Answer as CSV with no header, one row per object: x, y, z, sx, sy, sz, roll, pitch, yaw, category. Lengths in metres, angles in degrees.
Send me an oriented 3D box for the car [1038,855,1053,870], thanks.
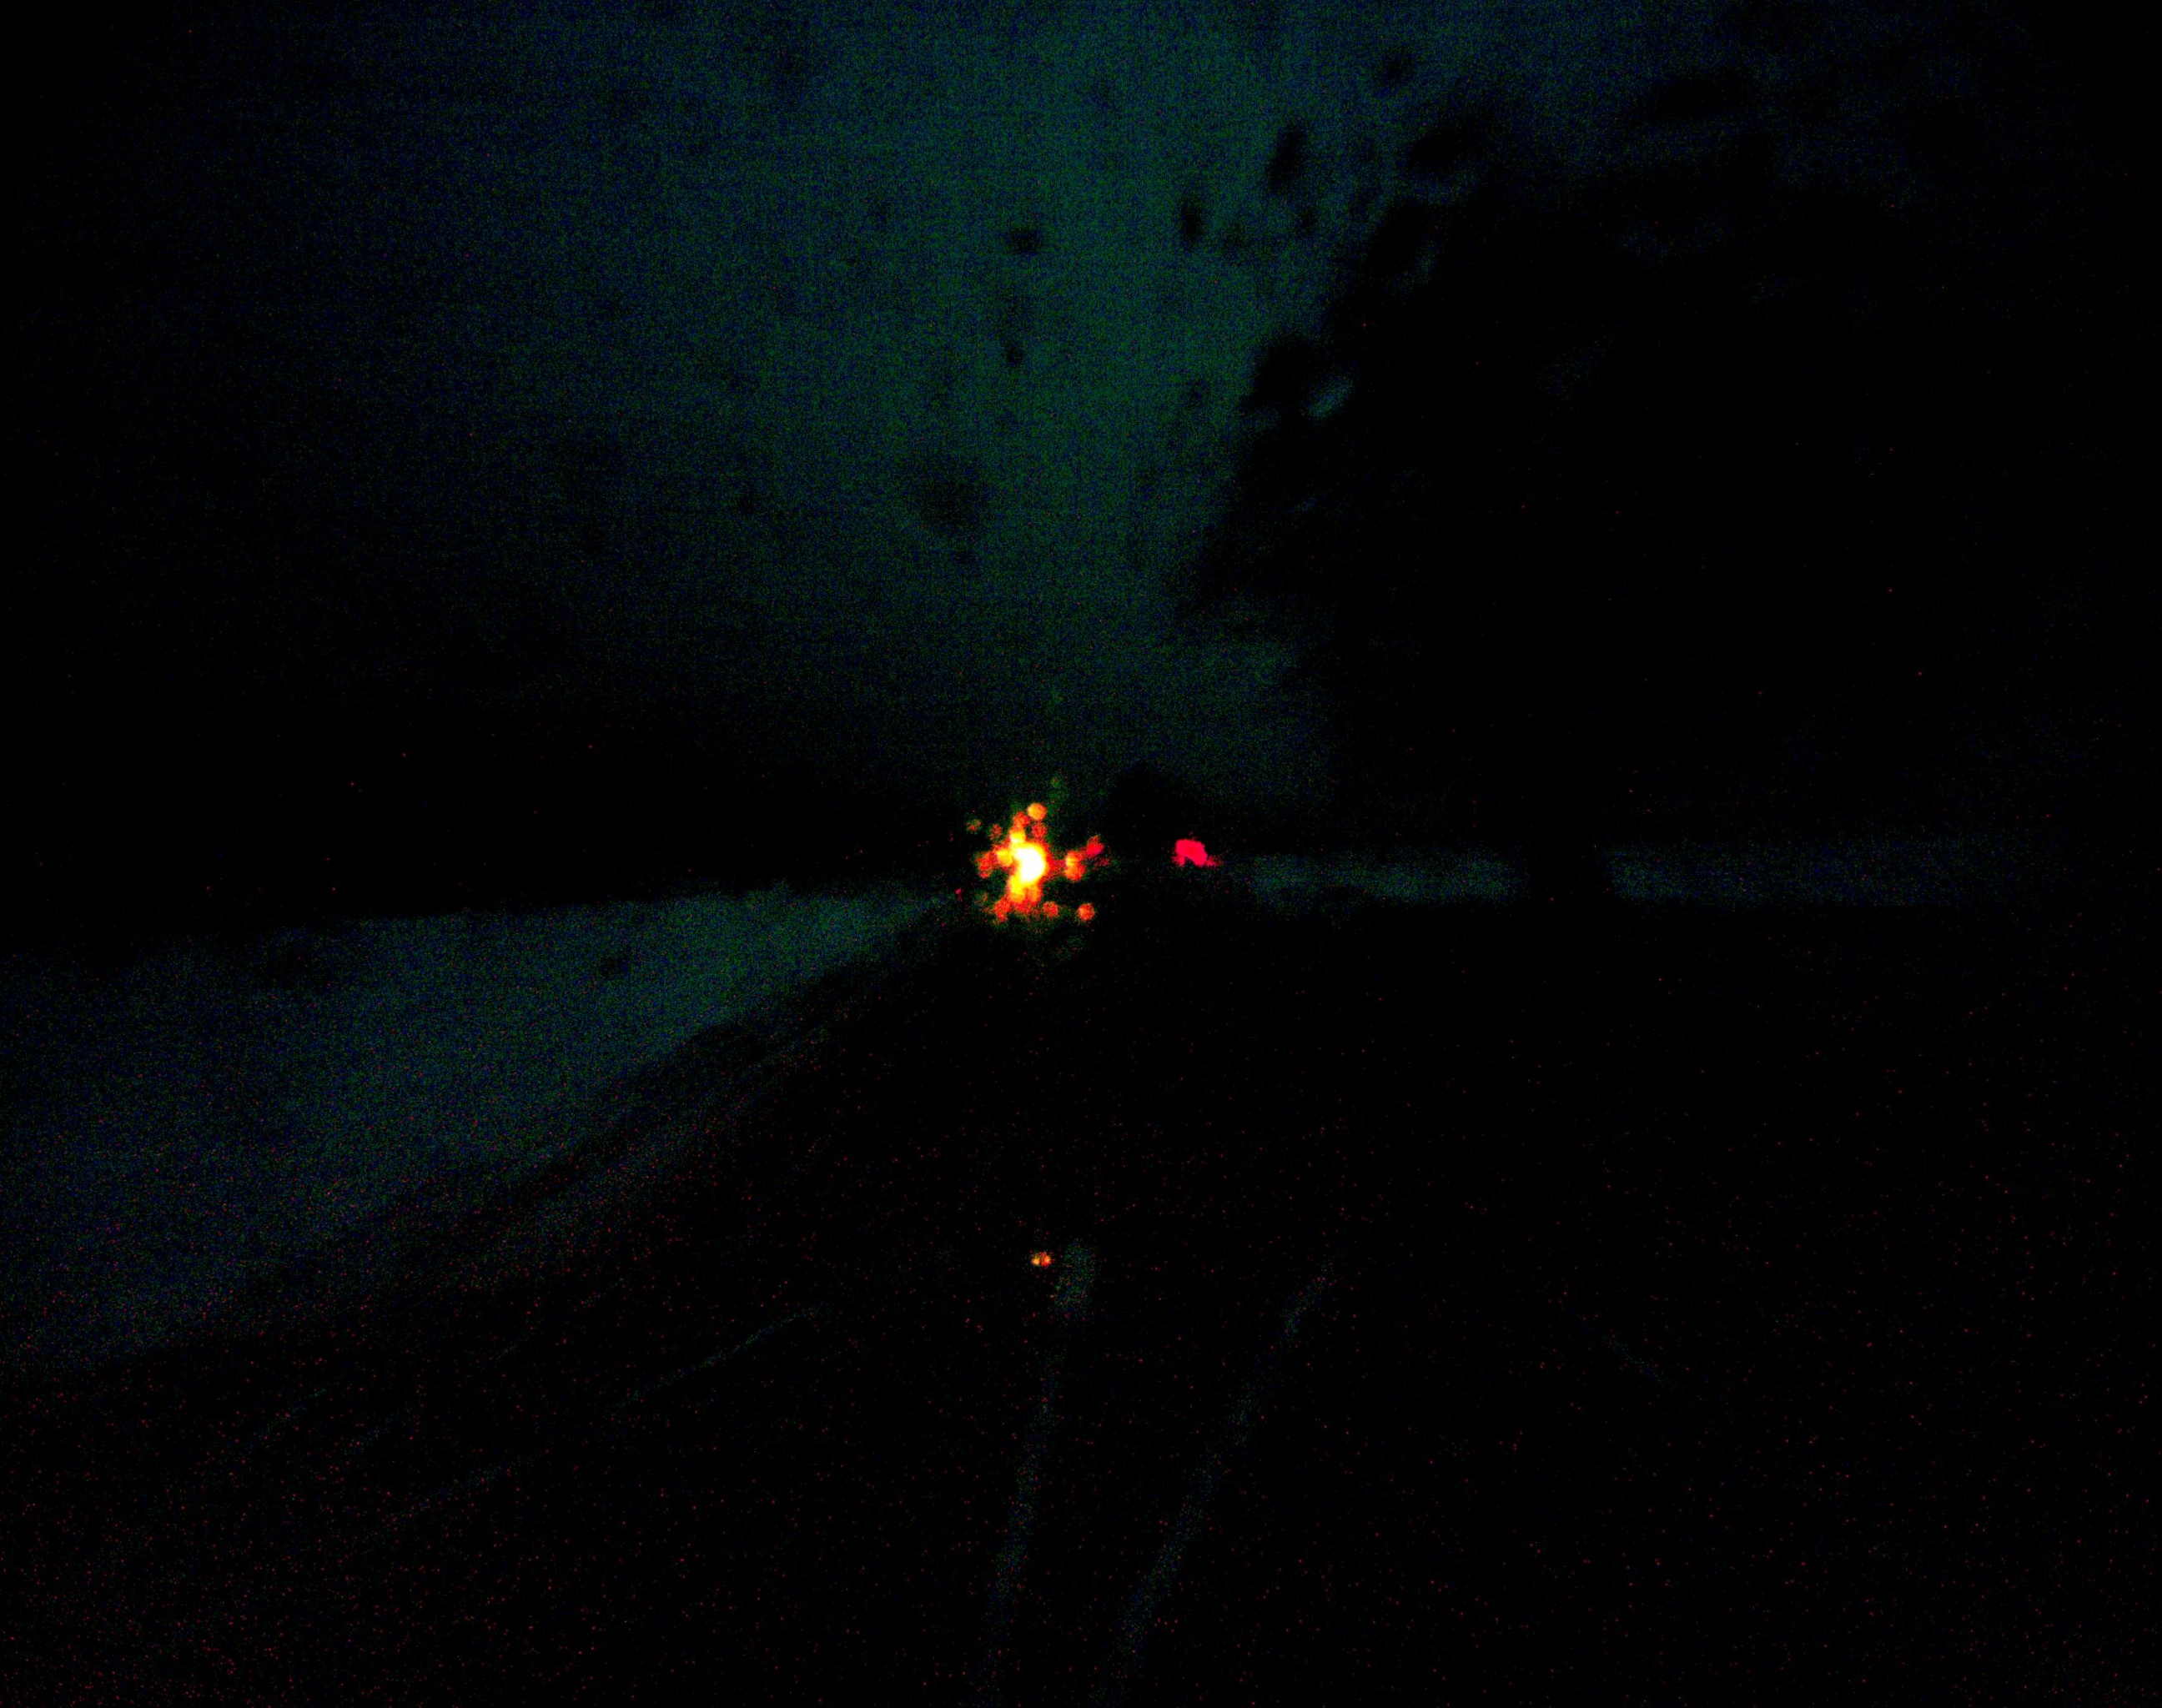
-5.193,1.246,111.408,1.998,2.002,3.999,-3,1,0,car
